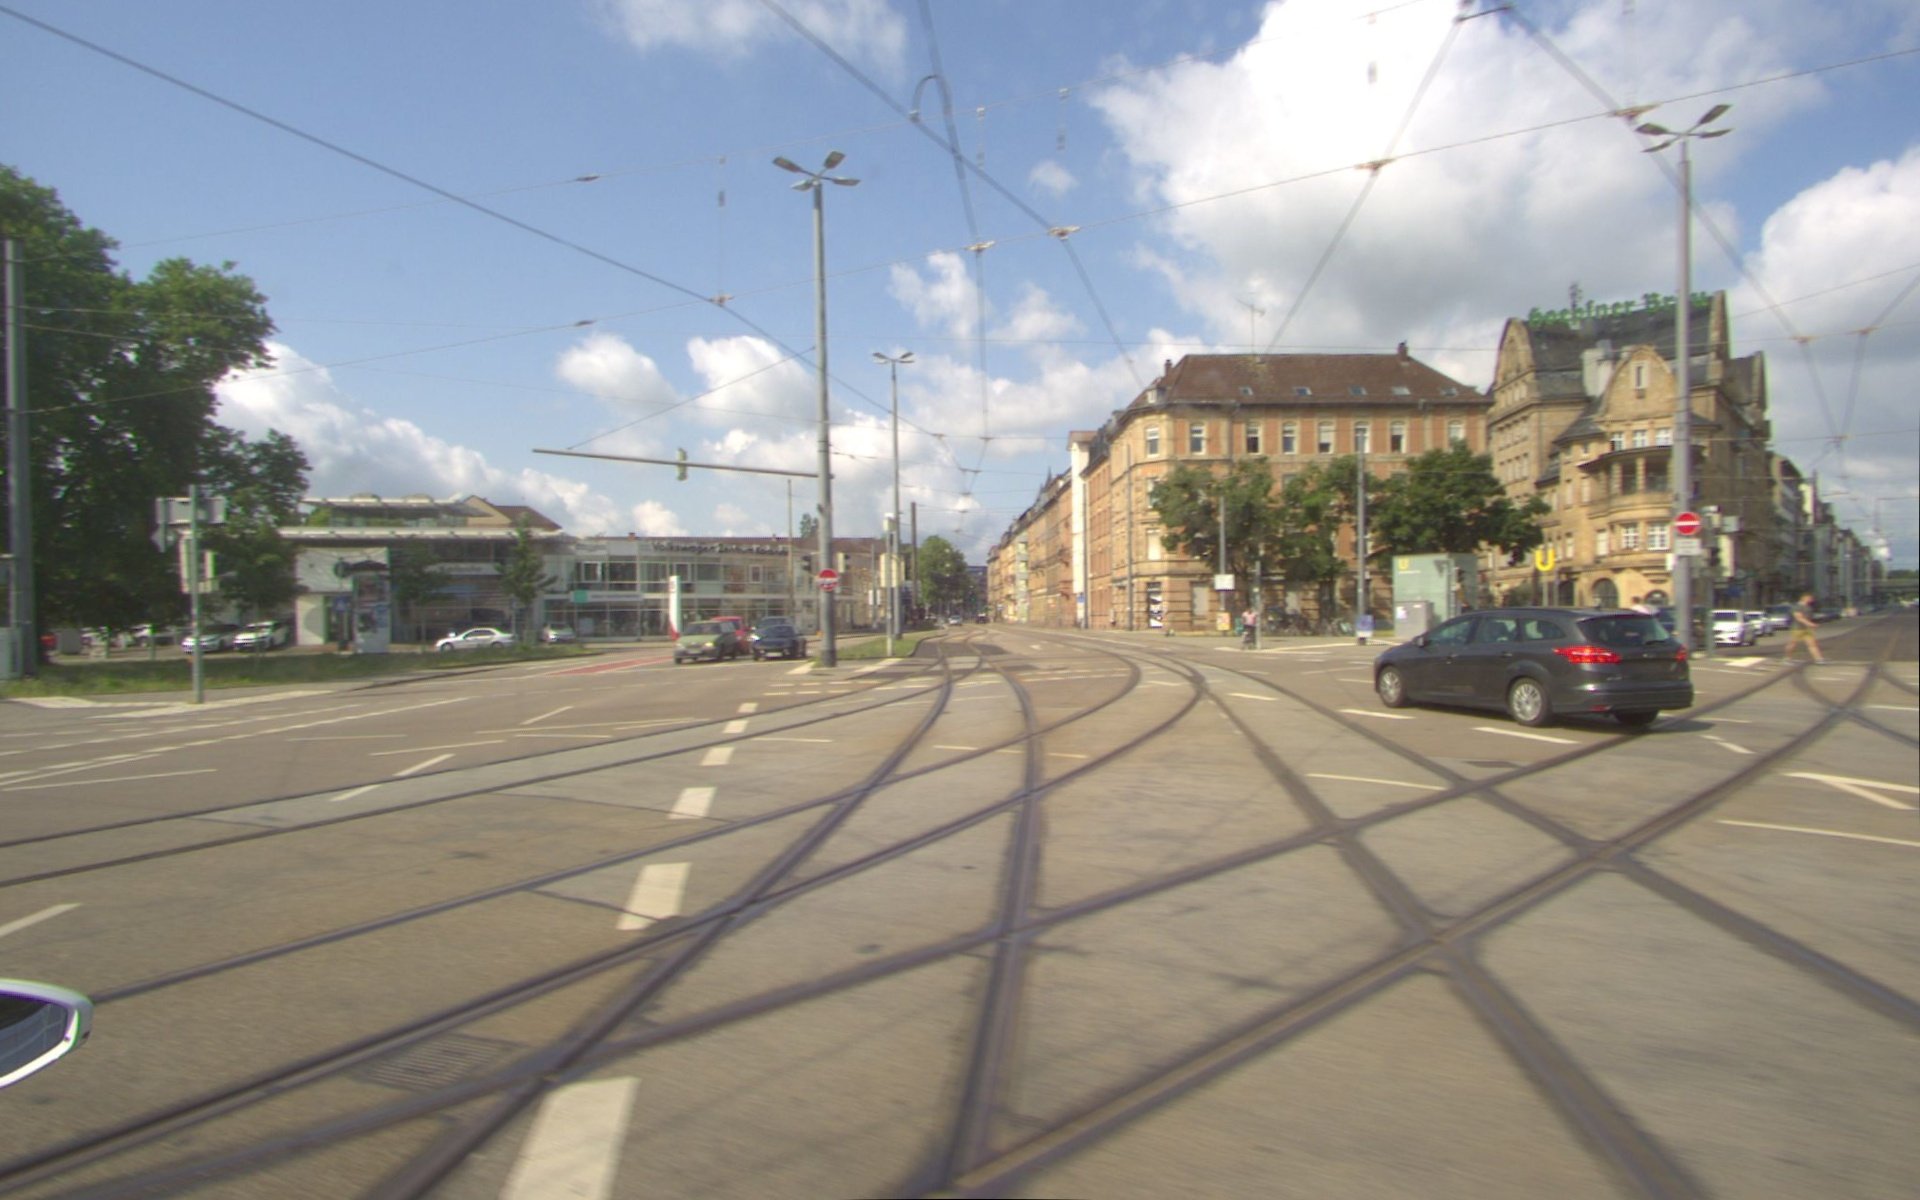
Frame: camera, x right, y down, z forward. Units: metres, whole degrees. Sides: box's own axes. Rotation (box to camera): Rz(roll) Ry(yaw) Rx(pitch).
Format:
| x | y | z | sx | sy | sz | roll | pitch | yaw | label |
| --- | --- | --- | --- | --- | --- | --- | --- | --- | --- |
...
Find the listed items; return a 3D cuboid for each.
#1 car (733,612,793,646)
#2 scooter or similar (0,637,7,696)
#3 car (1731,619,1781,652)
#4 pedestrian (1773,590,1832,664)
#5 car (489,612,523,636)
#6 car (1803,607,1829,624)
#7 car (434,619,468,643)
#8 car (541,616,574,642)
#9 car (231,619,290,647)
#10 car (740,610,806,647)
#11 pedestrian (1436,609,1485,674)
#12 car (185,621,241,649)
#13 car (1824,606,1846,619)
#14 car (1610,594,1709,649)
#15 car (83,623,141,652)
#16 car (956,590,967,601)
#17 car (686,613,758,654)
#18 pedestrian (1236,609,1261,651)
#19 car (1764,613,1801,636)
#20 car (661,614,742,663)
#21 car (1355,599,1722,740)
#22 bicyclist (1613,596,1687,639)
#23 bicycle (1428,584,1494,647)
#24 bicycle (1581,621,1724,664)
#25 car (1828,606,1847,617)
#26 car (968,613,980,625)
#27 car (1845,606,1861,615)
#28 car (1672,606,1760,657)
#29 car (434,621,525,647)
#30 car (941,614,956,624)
| x | y | z | sx | sy | sz | roll | pitch | yaw | label |
| --- | --- | --- | --- | --- | --- | --- | --- | --- | --- |
| -9.531 | 1.368 | 48.750 | 1.961 | 1.572 | 4.000 | 0 | -1 | 2 | car |
| -19.700 | 1.335 | 19.950 | 0.375 | 1.173 | 0.928 | 2 | 0 | 18 | scooter or similar |
| 45.239 | 1.991 | 56.906 | 1.833 | 1.683 | 3.963 | -2 | -1 | 44 | car |
| 21.608 | 0.693 | 25.688 | 0.854 | 1.833 | 0.883 | -2 | 0 | -28 | pedestrian |
| -30.036 | 1.551 | 66.317 | 1.894 | 1.464 | 3.987 | 0 | 0 | -22 | car |
| 88.647 | 1.591 | 103.698 | 1.833 | 1.558 | 3.786 | -2 | -1 | 44 | car |
| -33.419 | 1.996 | 65.835 | 1.896 | 1.464 | 3.983 | -1 | 0 | -26 | car |
| -27.610 | 1.955 | 68.763 | 1.896 | 1.571 | 3.988 | 6 | -3 | -22 | car |
| -43.934 | 2.051 | 62.978 | 2.039 | 1.625 | 3.989 | -1 | 1 | -20 | car |
| -6.470 | 0.971 | 35.001 | 1.595 | 1.176 | 4.000 | -2 | -1 | -1 | car |
| 14.760 | 1.221 | 29.560 | 0.976 | 1.865 | 0.996 | -2 | 0 | 7 | pedestrian |
| -46.413 | 2.156 | 62.314 | 1.968 | 1.594 | 3.986 | -1 | -1 | -24 | car |
| 107.856 | 1.492 | 123.409 | 1.832 | 1.558 | 3.787 | -1 | -1 | 44 | car |
| 24.047 | 0.703 | 34.356 | 4.297 | 1.762 | 1.981 | -1 | -1 | -44 | car |
| -51.547 | 2.252 | 60.938 | 1.660 | 1.617 | 3.985 | -1 | -1 | -26 | car |
| 0.299 | -0.809 | 188.914 | 1.961 | 2.040 | 4.000 | 0 | -1 | -3 | car |
| -9.589 | 1.320 | 40.653 | 1.961 | 1.539 | 4.000 | -2 | -1 | -1 | car |
| 11.788 | 1.213 | 40.904 | 0.700 | 1.664 | 0.790 | 0 | 0 | 39 | pedestrian |
| 61.828 | 1.839 | 75.267 | 1.833 | 1.558 | 3.786 | -2 | -1 | 44 | car |
| -8.885 | 1.280 | 34.718 | 1.791 | 1.533 | 4.000 | -2 | -1 | -1 | car |
| 7.394 | 0.796 | 13.365 | 1.741 | 1.548 | 4.249 | -1 | 0 | -15 | car |
| 17.907 | 0.470 | 26.002 | 0.976 | 1.040 | 1.214 | 0 | -3 | -17 | bicyclist |
| 14.749 | 0.449 | 29.569 | 0.989 | 1.748 | 2.468 | -2 | 0 | 8 | bicycle |
| 17.905 | 1.117 | 26.027 | 0.978 | 1.040 | 3.106 | 0 | -3 | -17 | bicycle |
| 123.652 | 1.600 | 141.031 | 1.832 | 1.558 | 3.787 | -1 | -1 | 44 | car |
| 2.327 | 3.181 | 170.277 | 1.961 | 2.040 | 4.000 | 0 | -1 | 2 | car |
| 146.440 | 1.739 | 164.160 | 1.833 | 1.558 | 3.786 | -1 | -1 | 44 | car |
| 29.603 | 1.203 | 39.141 | 4.636 | 1.617 | 1.981 | -4 | 1 | -43 | car |
| -28.189 | 1.989 | 58.887 | 4.465 | 1.372 | 1.998 | -2 | -1 | -13 | car |
| -1.629 | 2.669 | 140.499 | 1.961 | 1.349 | 4.000 | 0 | -1 | 1 | car |
